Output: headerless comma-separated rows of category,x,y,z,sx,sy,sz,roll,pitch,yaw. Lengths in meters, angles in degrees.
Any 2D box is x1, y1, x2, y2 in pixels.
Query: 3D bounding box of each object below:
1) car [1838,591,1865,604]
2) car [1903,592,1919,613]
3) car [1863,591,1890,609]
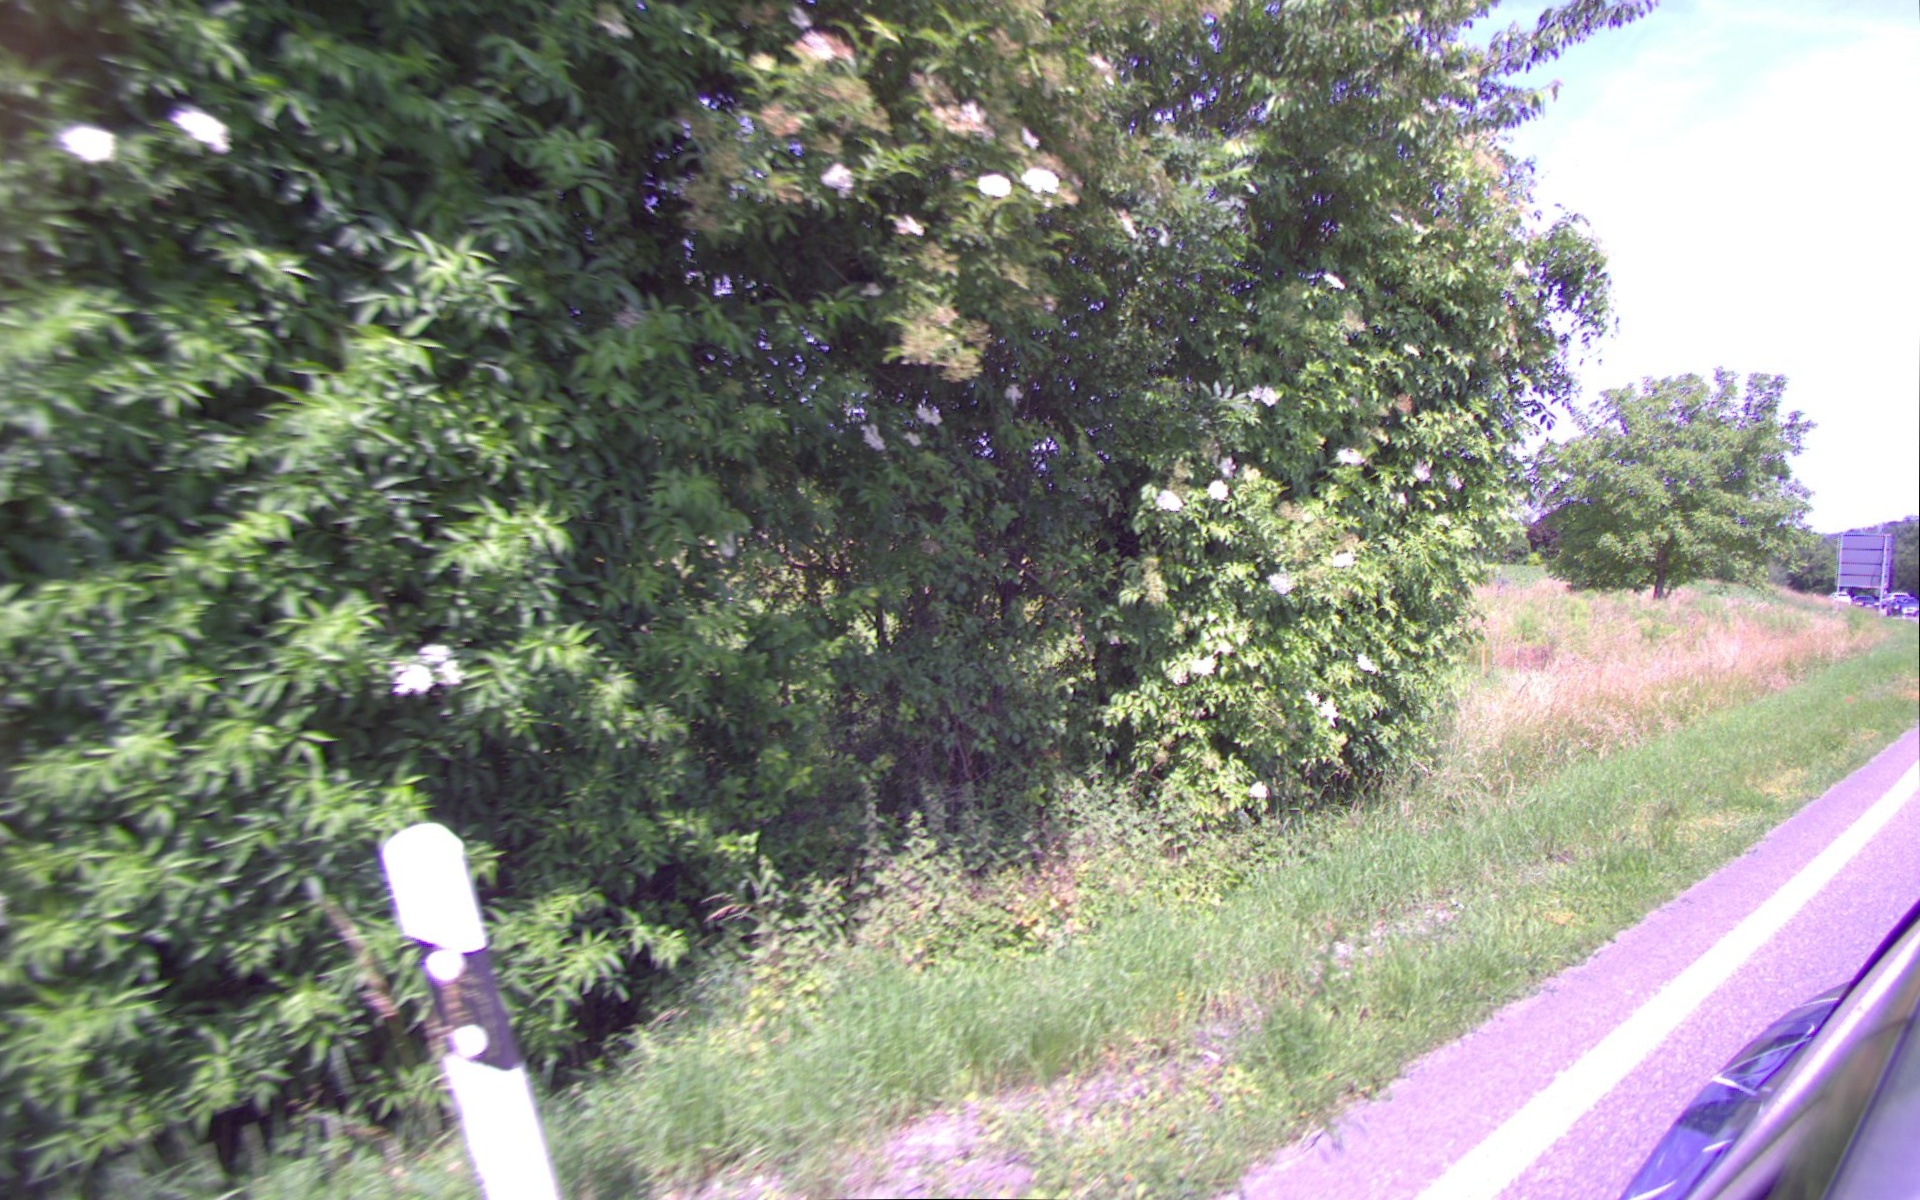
car,111.029,-0.298,126.015,1.783,1.541,4.113,2,1,32
car,73.912,0.177,77.961,1.820,1.538,3.937,2,2,44
car,87.118,-0.009,96.249,1.659,1.671,3.943,2,2,39
